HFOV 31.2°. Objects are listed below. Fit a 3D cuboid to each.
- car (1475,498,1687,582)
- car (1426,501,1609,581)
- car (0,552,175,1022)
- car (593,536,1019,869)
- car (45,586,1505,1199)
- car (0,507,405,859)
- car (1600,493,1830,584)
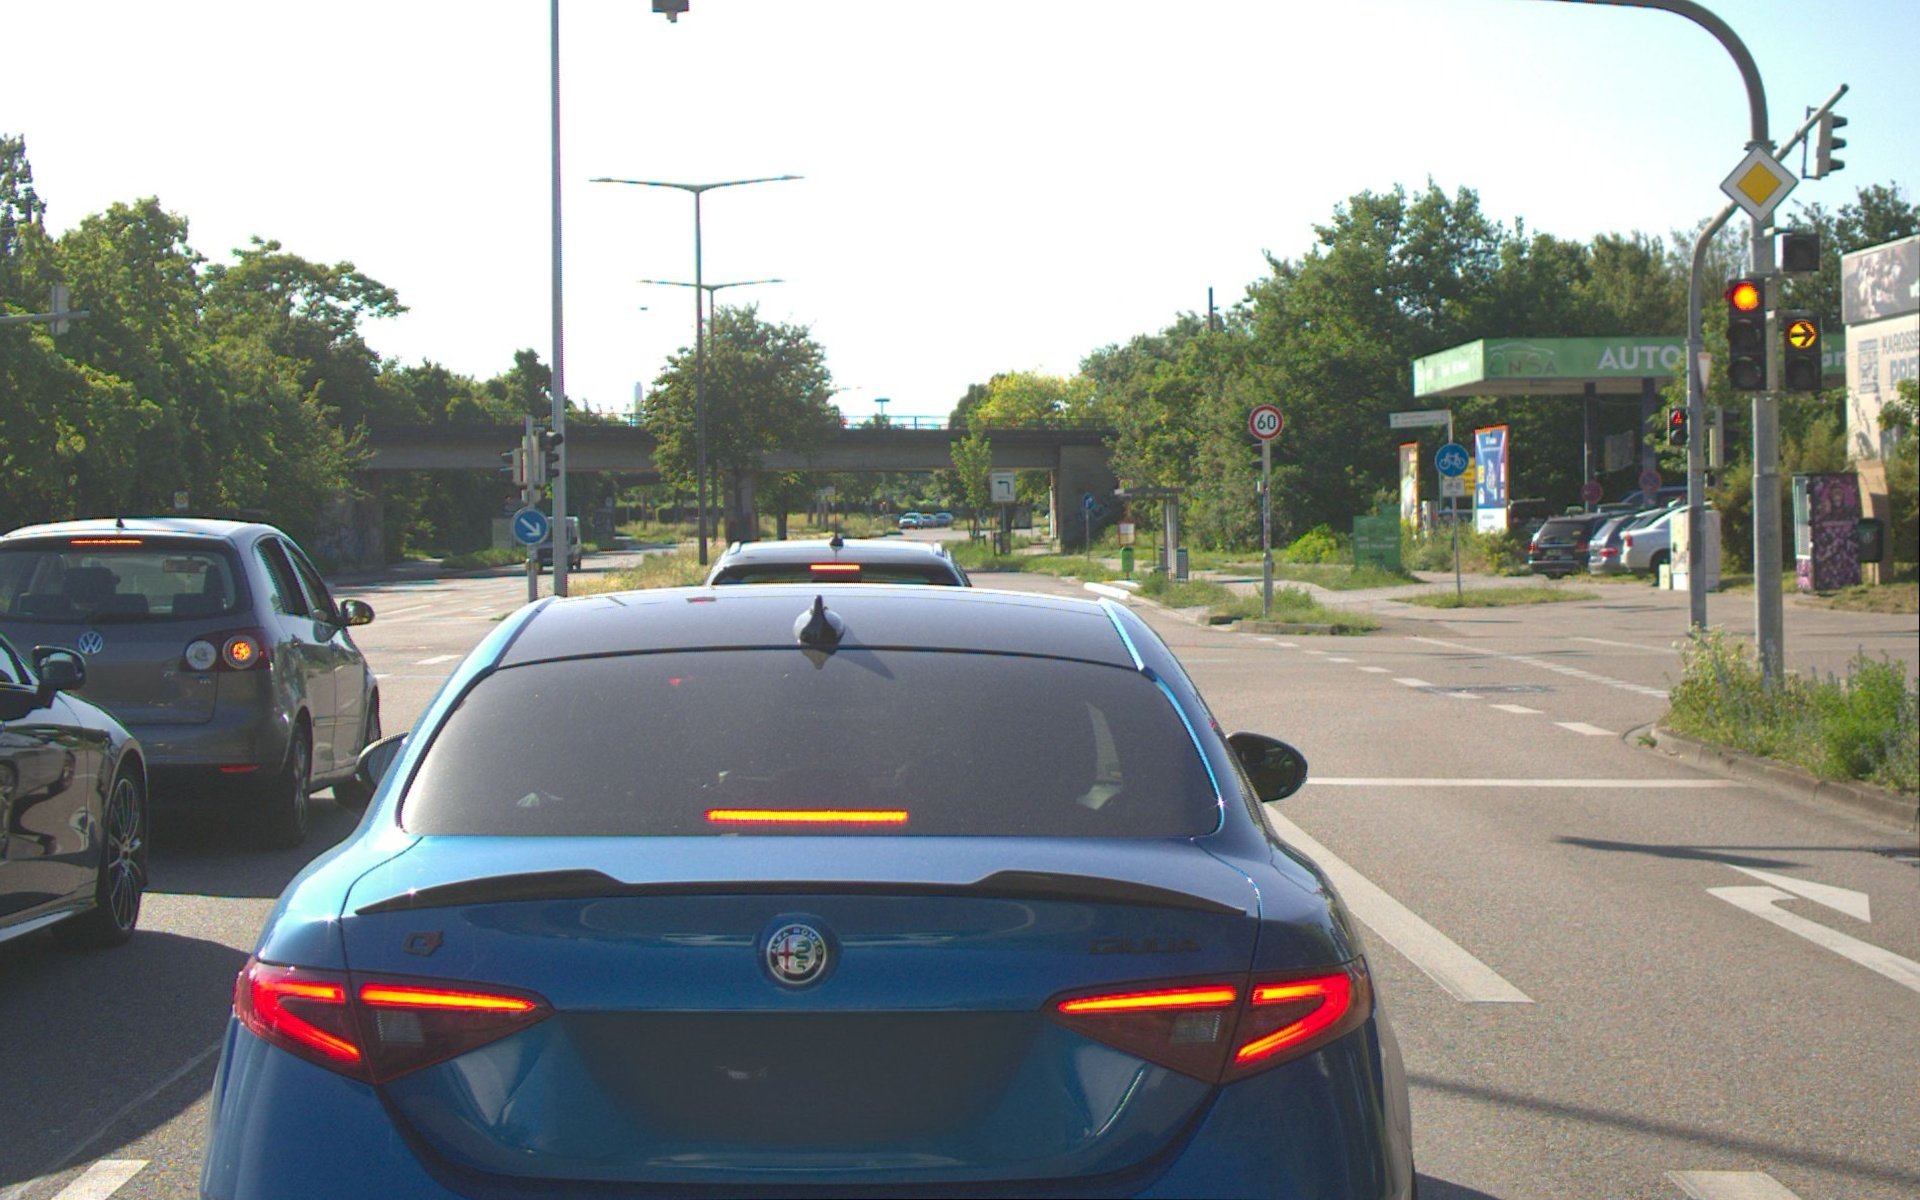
[{"bbox_3d":[12.817,-1.240,70.960,3.986,1.700,1.696,-1,1,-19],"label":"car"},{"bbox_3d":[12.017,-1.277,74.151,3.483,1.700,1.696,-1,1,-16],"label":"car"},{"bbox_3d":[-3.805,0.575,10.636,1.768,1.409,4.461,0,1,-1],"label":"car"},{"bbox_3d":[-0.699,0.416,17.075,1.866,1.445,3.932,0,1,-1],"label":"car"},{"bbox_3d":[-0.260,0.701,6.374,1.866,1.380,3.932,0,1,-1],"label":"car"},{"bbox_3d":[-3.965,0.335,17.573,1.648,1.593,3.932,0,1,-1],"label":"car"},{"bbox_3d":[14.508,-1.187,66.104,3.986,1.700,1.696,-1,1,-16],"label":"car"}]
